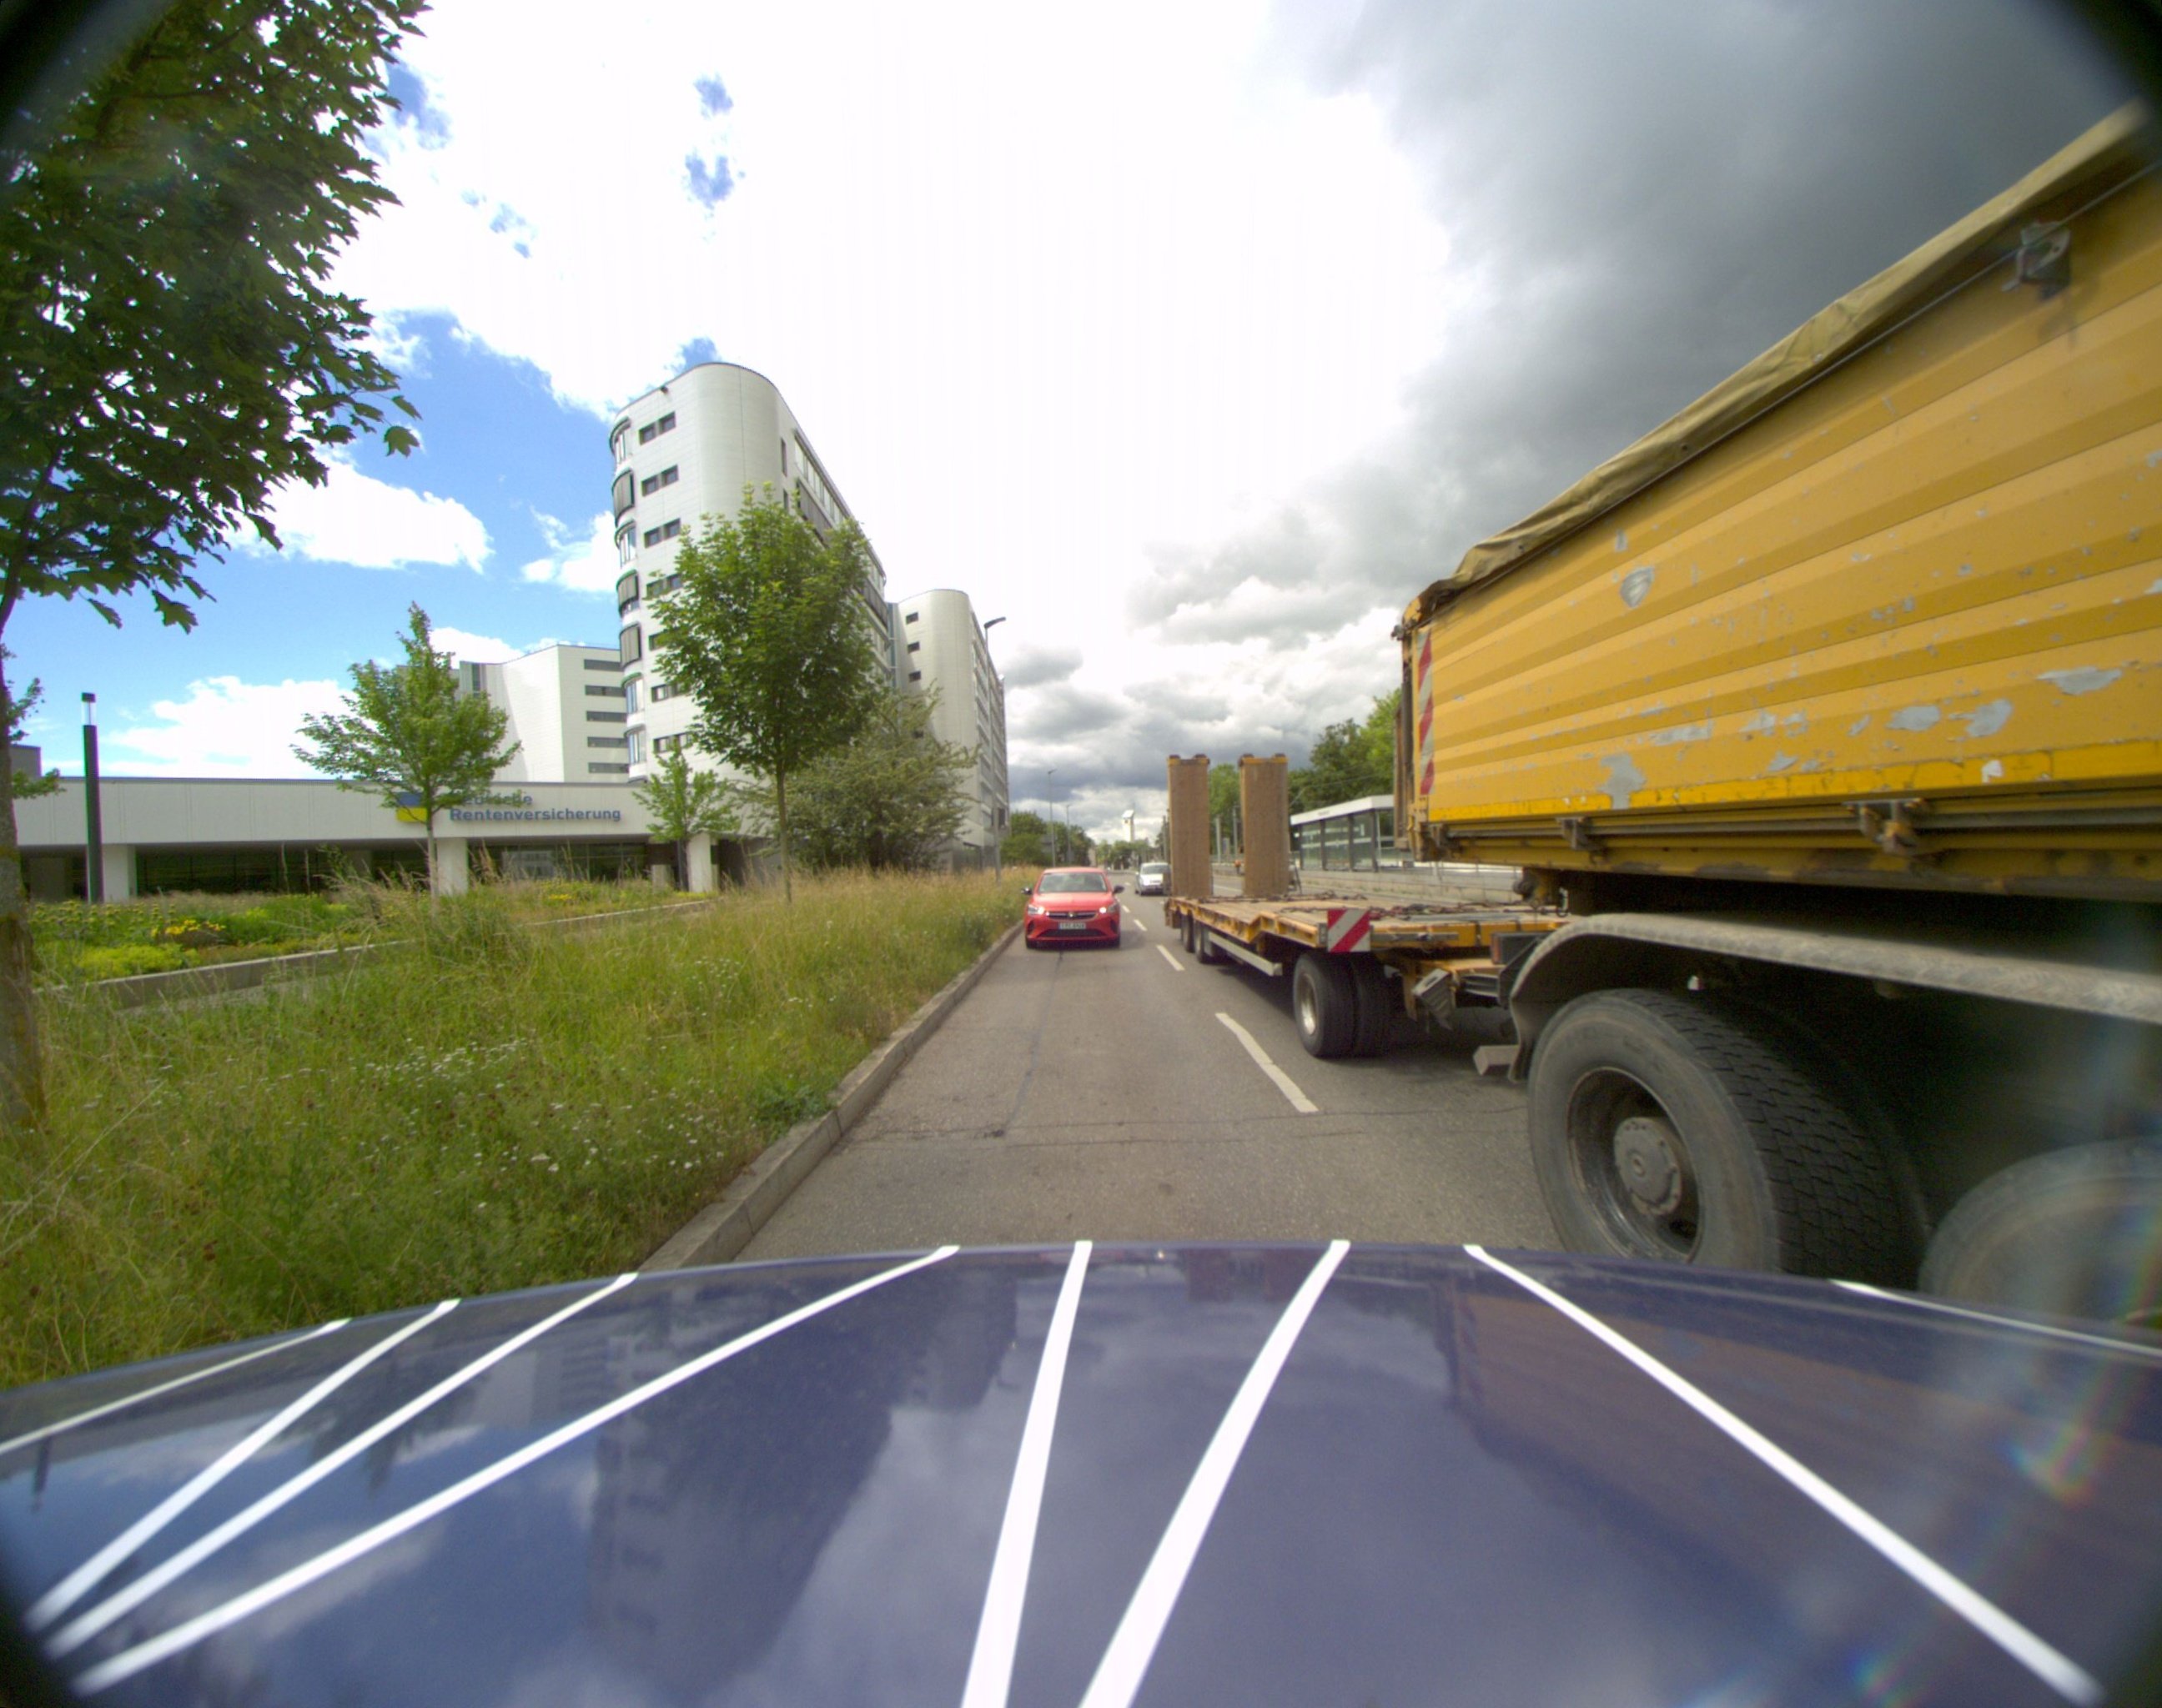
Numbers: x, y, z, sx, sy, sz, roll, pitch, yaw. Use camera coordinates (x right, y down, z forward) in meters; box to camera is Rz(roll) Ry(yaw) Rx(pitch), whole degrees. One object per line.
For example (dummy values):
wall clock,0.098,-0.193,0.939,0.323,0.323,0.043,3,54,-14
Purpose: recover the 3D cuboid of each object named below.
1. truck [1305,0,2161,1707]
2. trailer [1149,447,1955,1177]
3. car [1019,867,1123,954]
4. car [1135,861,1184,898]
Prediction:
truck,2.819,-0.080,0.119,3.057,3.374,8.006,-2,0,0
trailer,2.944,-0.192,9.420,3.057,3.676,10.965,-2,0,0
car,-0.141,0.991,14.705,1.749,1.408,3.676,-1,0,1
car,3.341,1.051,32.938,1.784,1.408,3.785,-2,0,1
